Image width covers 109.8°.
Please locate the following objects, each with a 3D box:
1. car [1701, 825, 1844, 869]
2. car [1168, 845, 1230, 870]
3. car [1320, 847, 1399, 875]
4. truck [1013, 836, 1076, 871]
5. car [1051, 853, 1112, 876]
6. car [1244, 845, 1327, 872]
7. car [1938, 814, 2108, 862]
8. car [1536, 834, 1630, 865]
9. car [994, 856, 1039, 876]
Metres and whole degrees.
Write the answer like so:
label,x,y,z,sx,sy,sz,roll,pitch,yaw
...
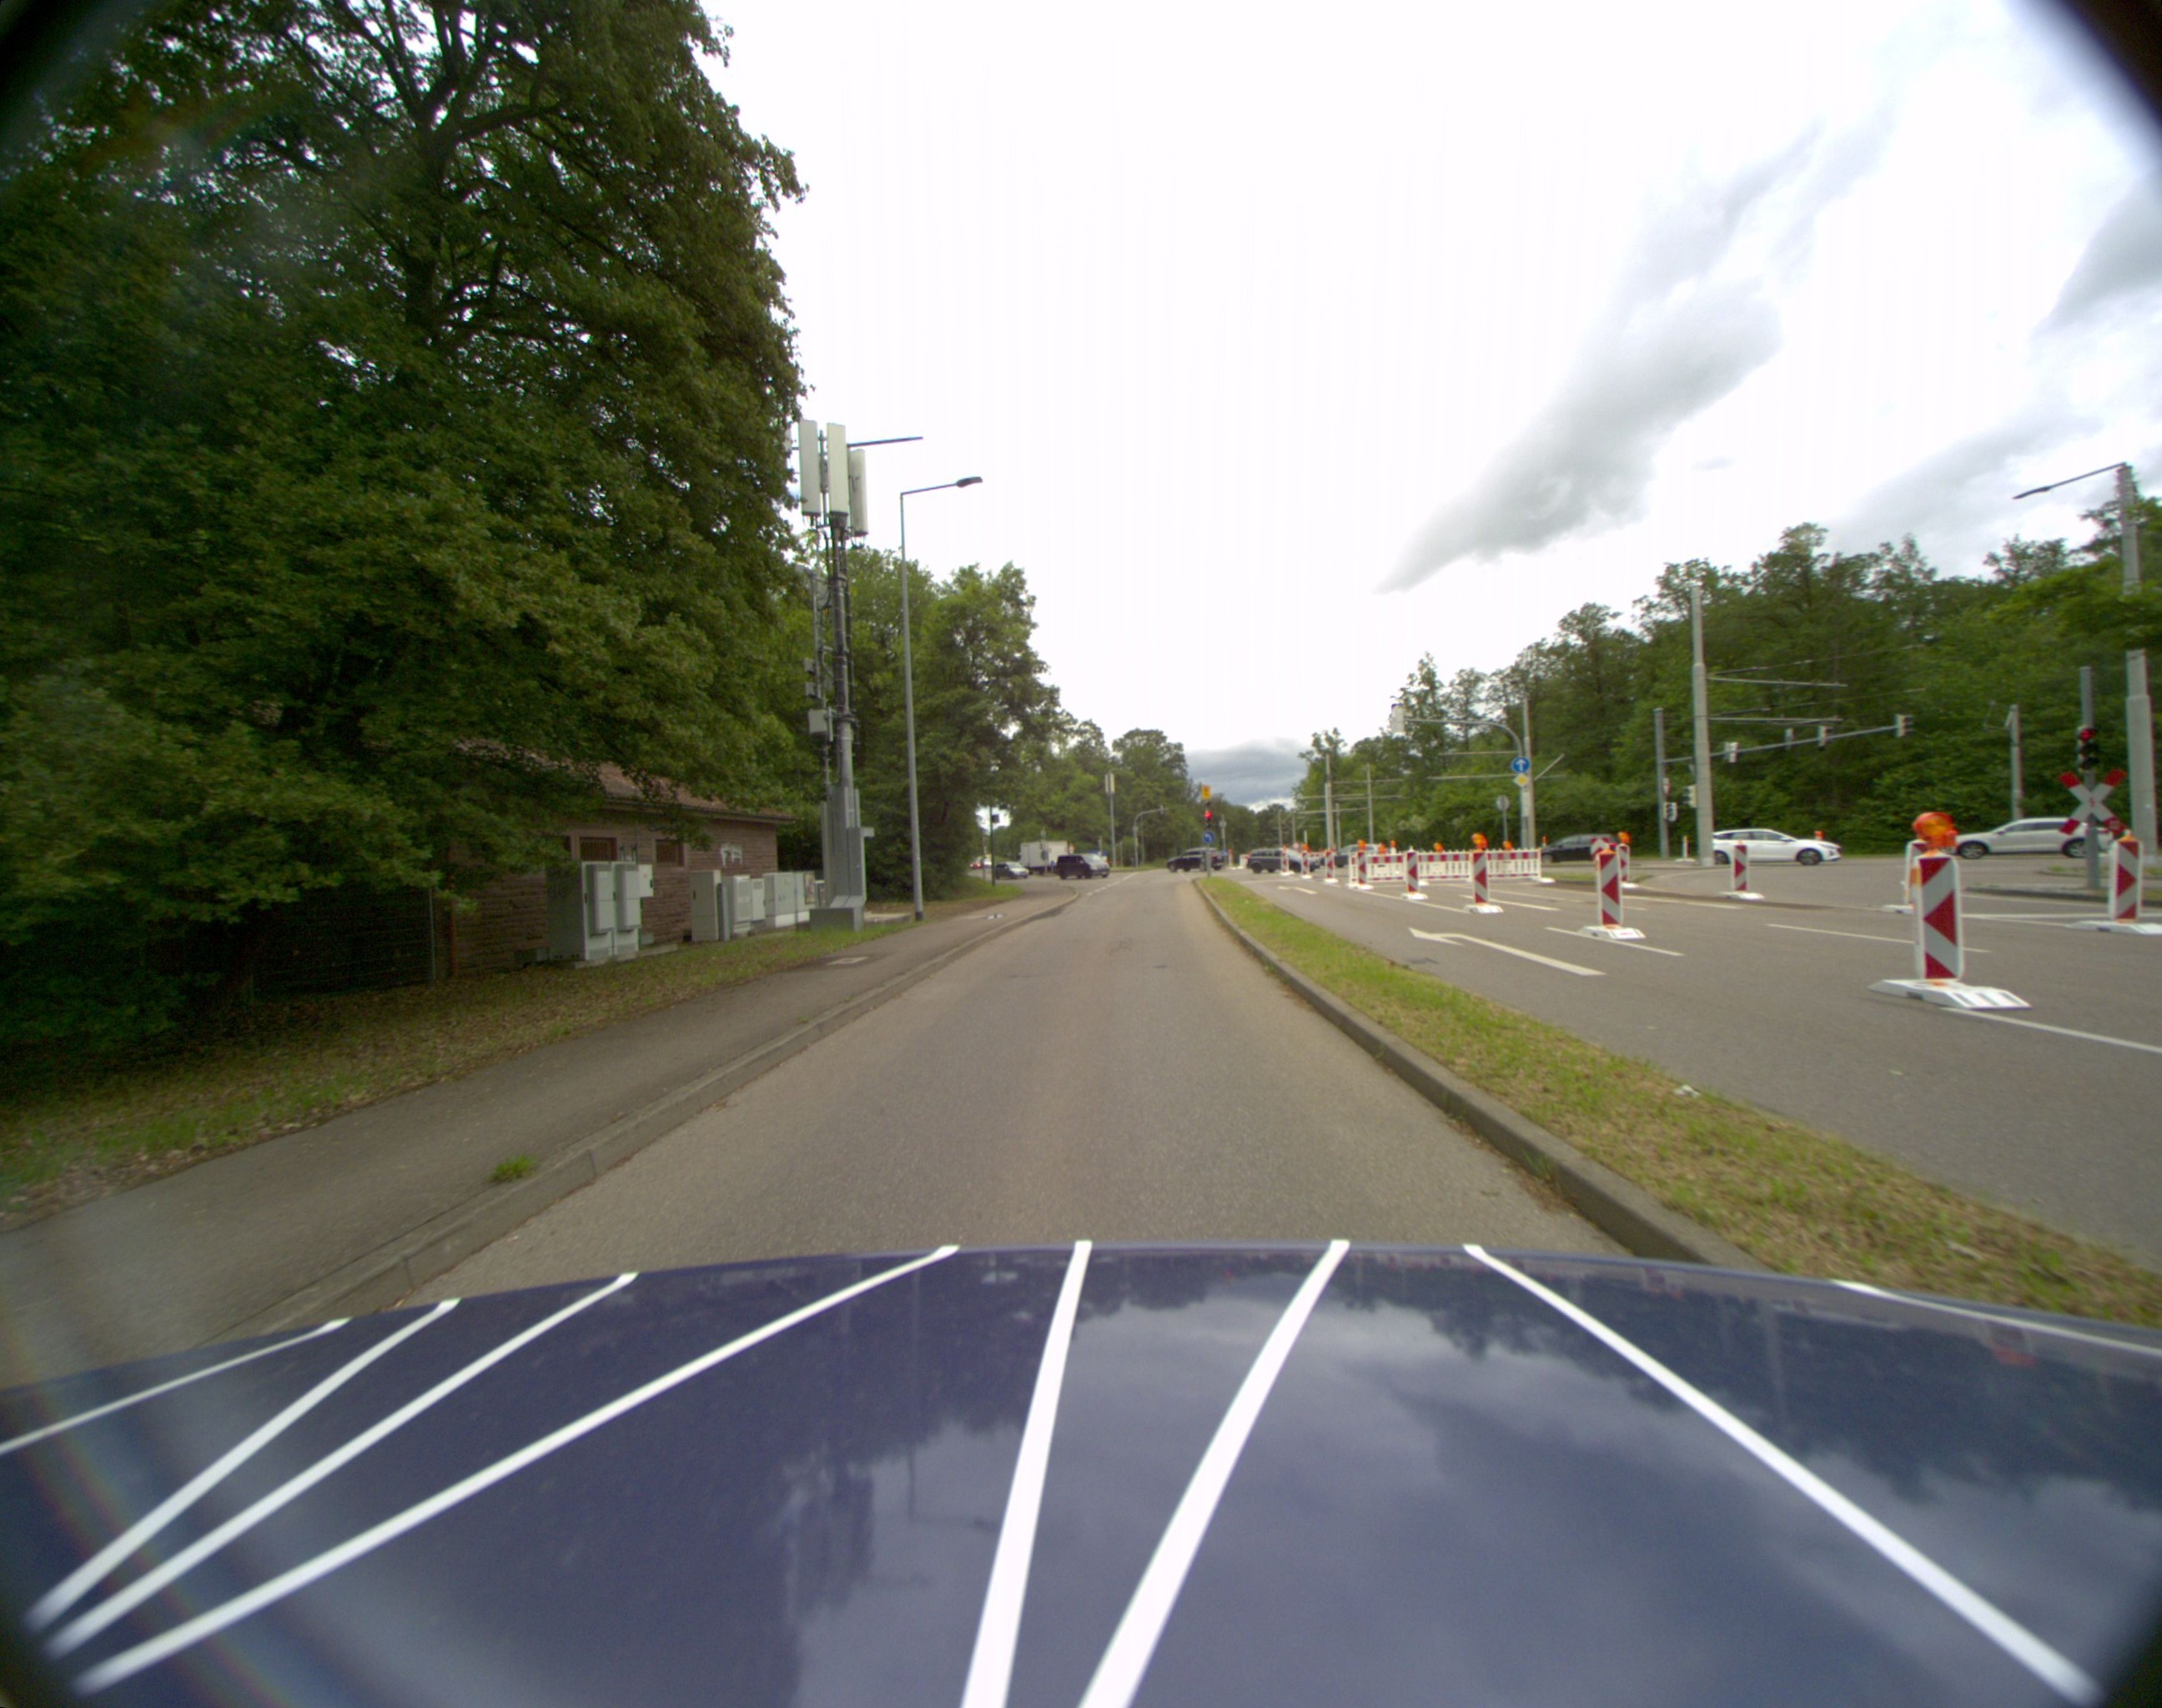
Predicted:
label,x,y,z,sx,sy,sz,roll,pitch,yaw
car,26.684,-0.259,29.415,3.989,1.479,1.772,-3,1,44
car,9.262,0.285,59.717,2.004,1.718,4.461,-4,1,-43
car,18.321,0.491,50.113,4.439,1.586,1.884,-3,1,41
truck,-3.686,-0.006,74.644,2.753,3.192,6.656,-4,1,-37
car,-0.022,0.859,59.304,1.961,1.578,4.897,-4,1,-40
car,12.038,0.283,44.925,1.800,1.428,4.379,-4,1,-44
car,37.014,-0.590,30.035,1.862,1.642,4.037,-4,1,-43
car,26.803,-0.230,40.680,1.666,1.330,3.831,-8,3,-41
car,-5.700,1.063,66.802,1.901,1.631,3.973,-4,1,-39
